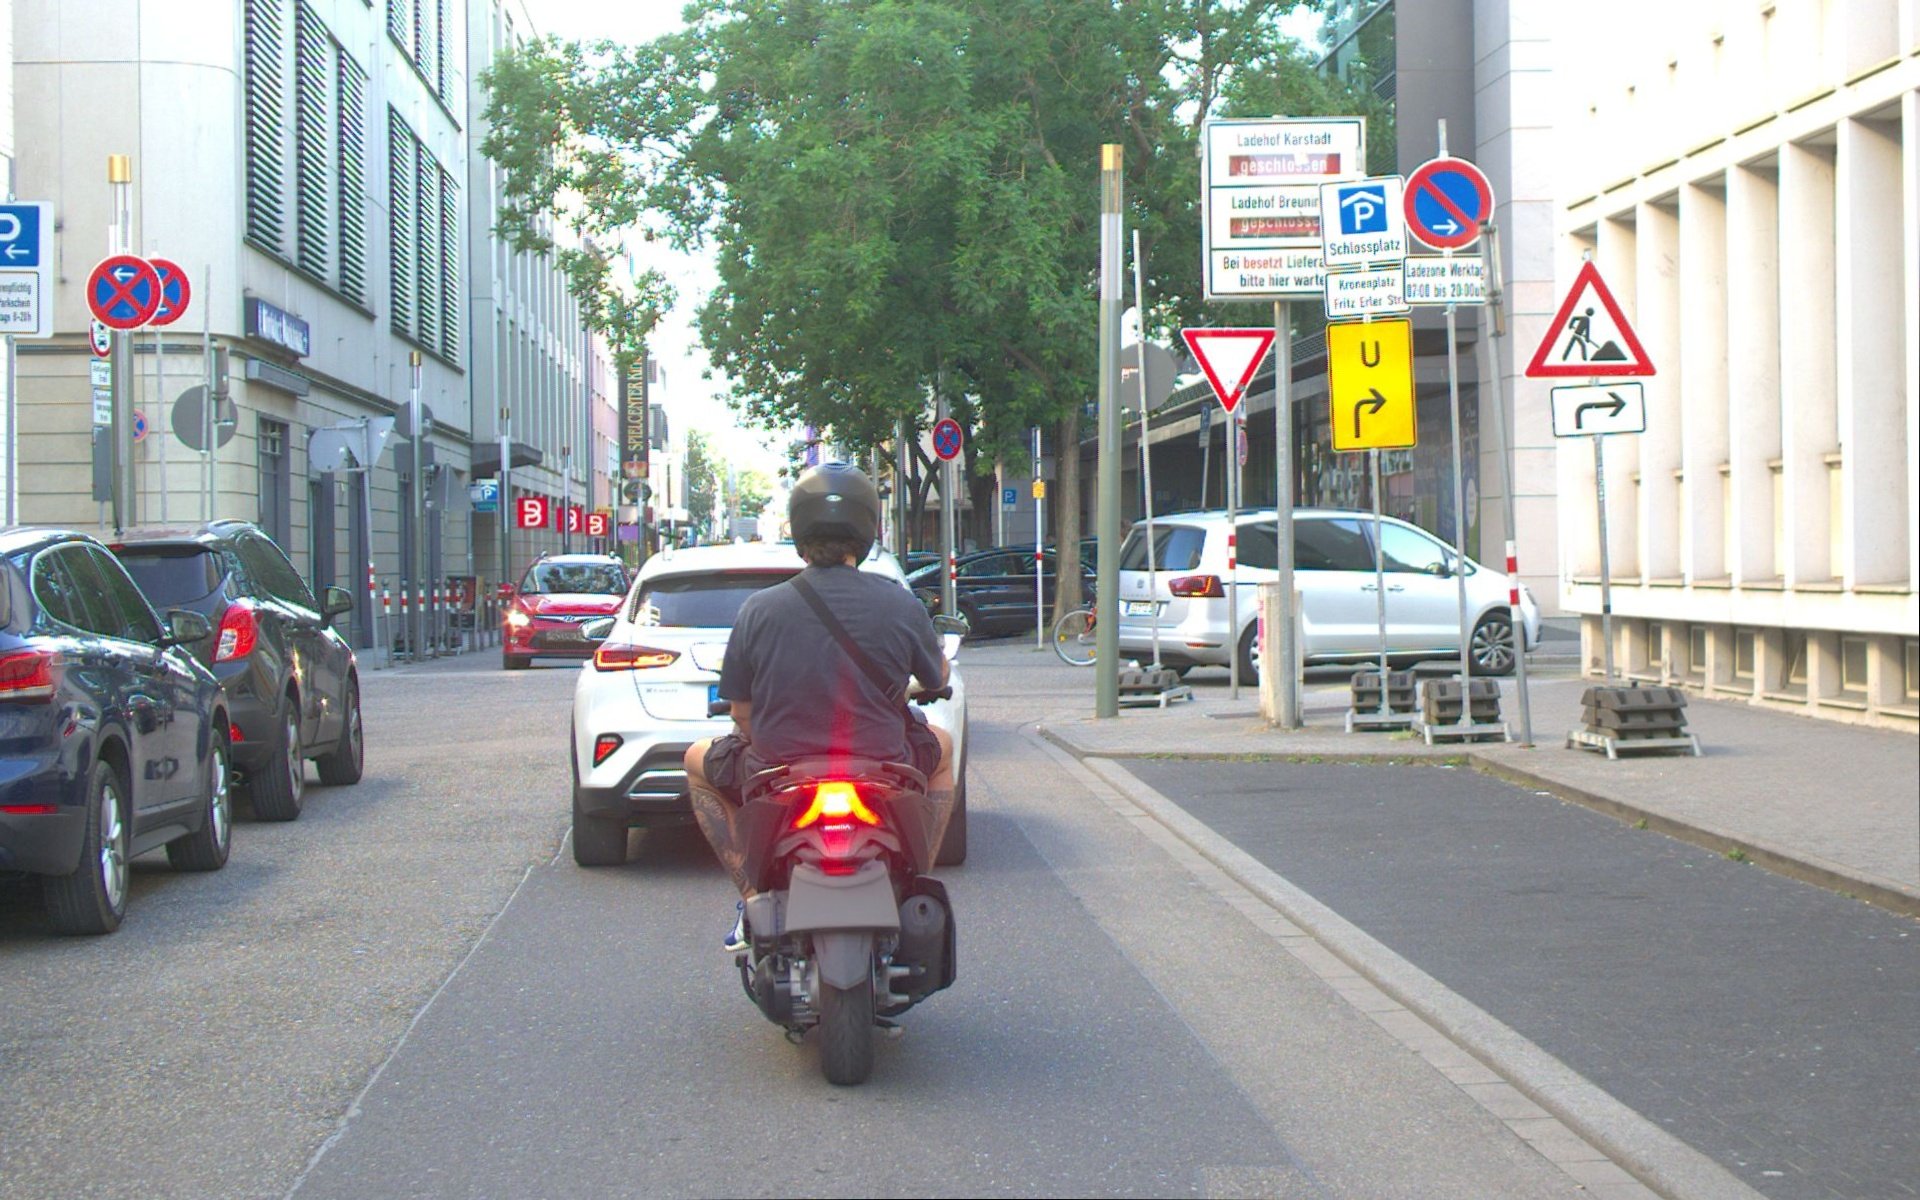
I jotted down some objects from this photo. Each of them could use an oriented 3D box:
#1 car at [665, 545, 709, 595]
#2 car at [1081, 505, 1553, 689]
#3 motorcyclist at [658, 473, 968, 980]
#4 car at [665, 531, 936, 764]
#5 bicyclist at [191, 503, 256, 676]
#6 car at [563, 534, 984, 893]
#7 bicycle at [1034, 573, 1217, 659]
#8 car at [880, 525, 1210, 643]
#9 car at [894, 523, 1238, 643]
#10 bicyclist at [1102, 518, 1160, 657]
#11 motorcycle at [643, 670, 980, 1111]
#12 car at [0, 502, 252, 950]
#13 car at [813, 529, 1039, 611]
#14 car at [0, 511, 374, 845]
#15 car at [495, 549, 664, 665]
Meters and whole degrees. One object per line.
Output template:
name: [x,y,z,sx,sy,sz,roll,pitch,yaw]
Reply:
car: [-13.097,-1.464,164.825,1.993,2.321,5.022,1,1,-5]
car: [3.595,-0.079,34.392,4.479,1.639,1.829,-2,4,-31]
motorcyclist: [-0.420,0.356,9.886,0.867,1.422,0.455,0,0,-2]
car: [-1.256,0.286,26.147,1.822,1.536,4.365,-3,1,-4]
bicyclist: [-7.402,-0.107,34.547,0.550,1.726,0.501,0,0,-22]
car: [-0.954,0.452,17.166,1.822,1.536,4.264,-1,1,-4]
bicycle: [1.941,0.189,40.343,2.103,0.992,0.518,0,0,9]
car: [1.326,-0.258,55.168,5.003,1.494,2.000,-4,0,-5]
car: [1.600,-0.264,52.951,5.003,1.447,2.000,-4,0,-5]
bicyclist: [2.009,-0.152,40.334,0.630,1.620,0.498,0,0,8]
motorcycle: [-0.416,0.774,9.850,0.872,1.105,1.840,0,0,-2]
car: [-4.156,0.439,14.343,1.739,1.589,4.155,-3,1,-4]
car: [-0.820,-0.689,79.635,5.003,1.494,2.000,-4,0,-5]
car: [-4.606,0.364,20.027,1.822,1.672,4.264,-3,1,-3]
car: [-5.002,0.126,45.618,1.822,1.460,4.263,-1,-1,-1]
